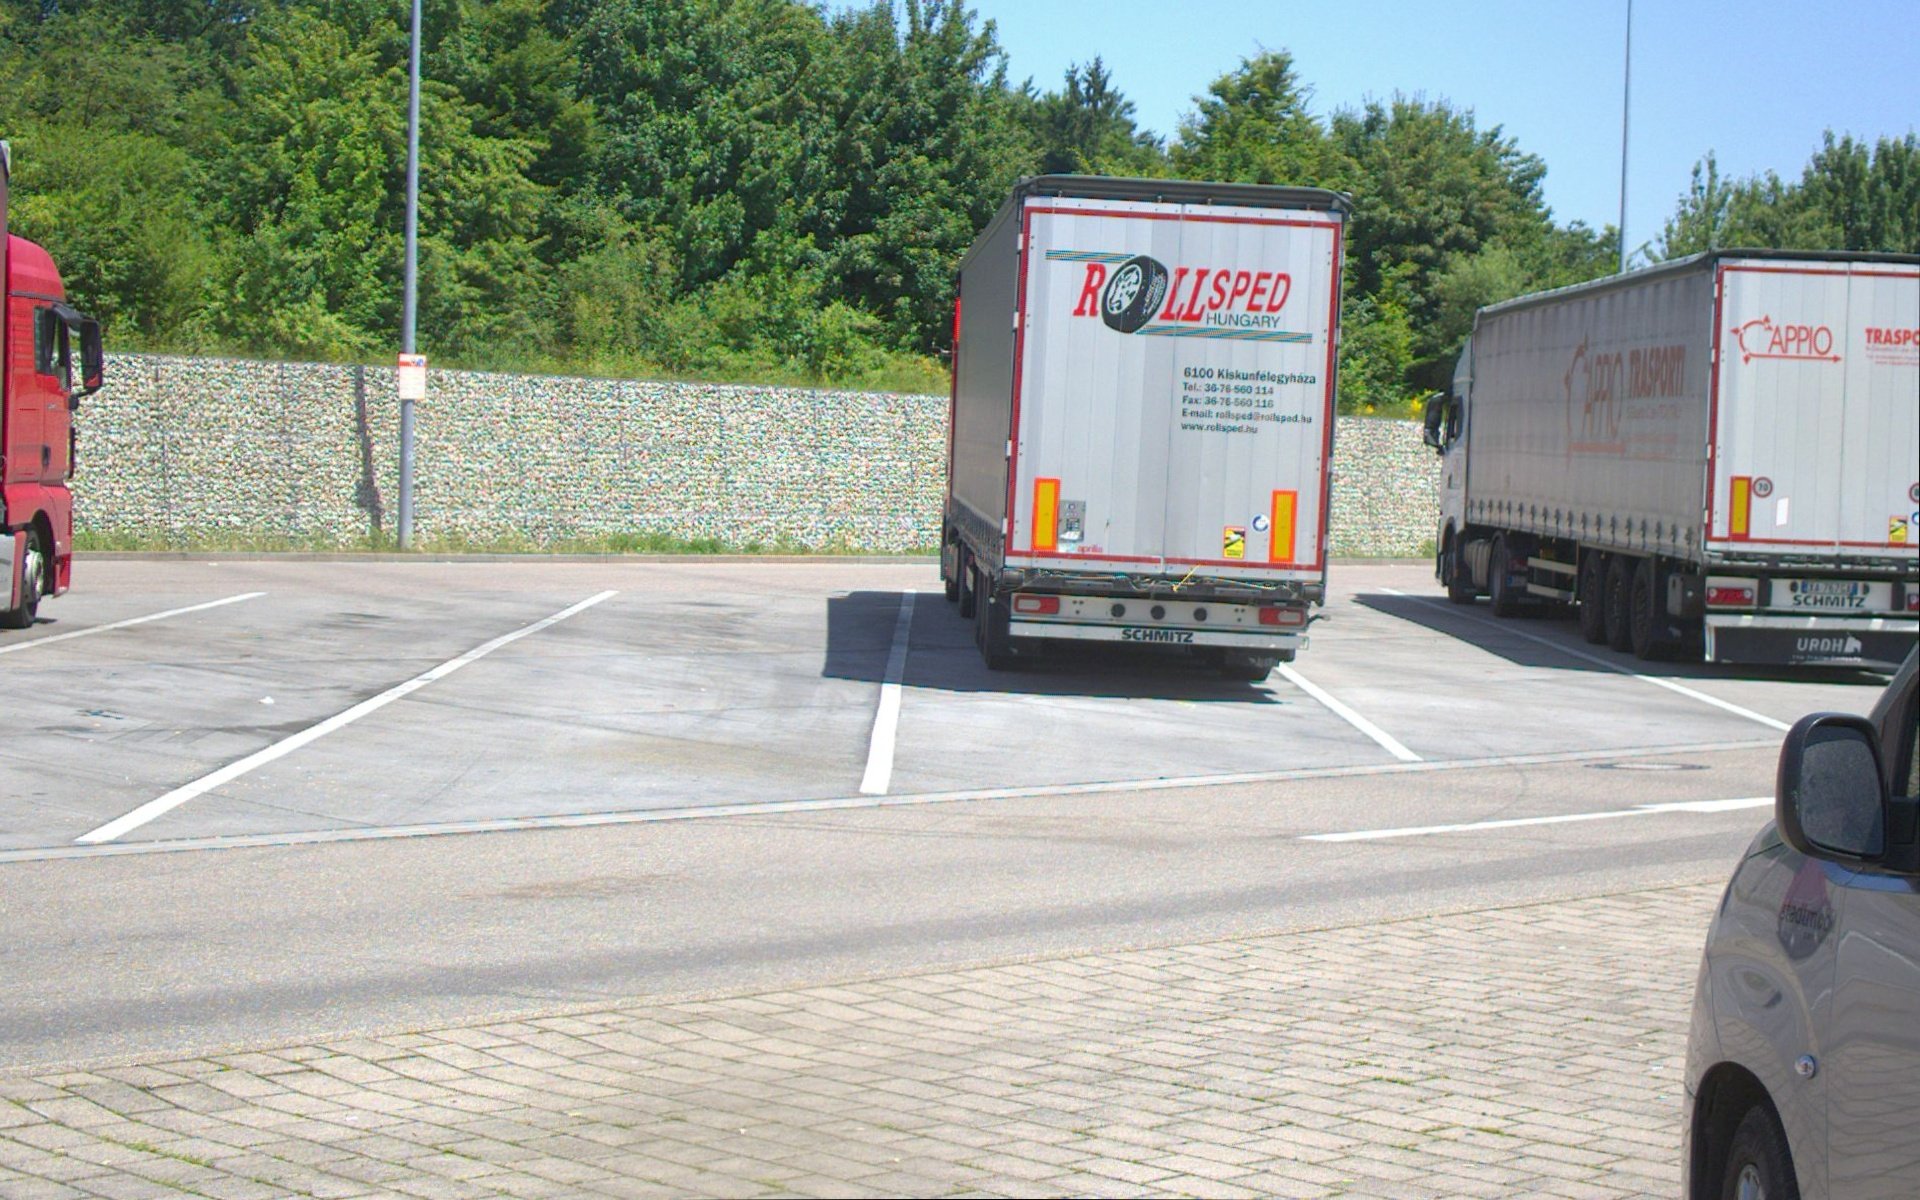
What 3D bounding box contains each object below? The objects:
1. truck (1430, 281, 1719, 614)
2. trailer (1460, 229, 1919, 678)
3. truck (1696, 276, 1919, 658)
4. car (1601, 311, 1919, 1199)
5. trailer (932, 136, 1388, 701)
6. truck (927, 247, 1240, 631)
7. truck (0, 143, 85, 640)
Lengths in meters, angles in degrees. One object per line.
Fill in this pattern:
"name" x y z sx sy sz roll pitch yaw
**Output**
"truck" 8.018 -1.989 45.476 2.757 4.110 5.285 1 2 -1
"trailer" 8.132 -1.573 38.480 2.876 4.110 13.572 1 2 -1
"truck" 11.722 -1.474 39.813 2.904 4.110 14.528 3 2 -1
"car" 2.129 0.543 3.800 1.825 1.747 4.001 1 2 -4
"trailer" 1.470 -1.696 32.644 3.069 4.213 12.810 2 3 -2
"truck" 1.255 -1.854 39.412 3.026 3.915 6.847 2 3 -2
"truck" -9.239 -1.701 27.661 2.743 4.067 6.830 1 2 -1
